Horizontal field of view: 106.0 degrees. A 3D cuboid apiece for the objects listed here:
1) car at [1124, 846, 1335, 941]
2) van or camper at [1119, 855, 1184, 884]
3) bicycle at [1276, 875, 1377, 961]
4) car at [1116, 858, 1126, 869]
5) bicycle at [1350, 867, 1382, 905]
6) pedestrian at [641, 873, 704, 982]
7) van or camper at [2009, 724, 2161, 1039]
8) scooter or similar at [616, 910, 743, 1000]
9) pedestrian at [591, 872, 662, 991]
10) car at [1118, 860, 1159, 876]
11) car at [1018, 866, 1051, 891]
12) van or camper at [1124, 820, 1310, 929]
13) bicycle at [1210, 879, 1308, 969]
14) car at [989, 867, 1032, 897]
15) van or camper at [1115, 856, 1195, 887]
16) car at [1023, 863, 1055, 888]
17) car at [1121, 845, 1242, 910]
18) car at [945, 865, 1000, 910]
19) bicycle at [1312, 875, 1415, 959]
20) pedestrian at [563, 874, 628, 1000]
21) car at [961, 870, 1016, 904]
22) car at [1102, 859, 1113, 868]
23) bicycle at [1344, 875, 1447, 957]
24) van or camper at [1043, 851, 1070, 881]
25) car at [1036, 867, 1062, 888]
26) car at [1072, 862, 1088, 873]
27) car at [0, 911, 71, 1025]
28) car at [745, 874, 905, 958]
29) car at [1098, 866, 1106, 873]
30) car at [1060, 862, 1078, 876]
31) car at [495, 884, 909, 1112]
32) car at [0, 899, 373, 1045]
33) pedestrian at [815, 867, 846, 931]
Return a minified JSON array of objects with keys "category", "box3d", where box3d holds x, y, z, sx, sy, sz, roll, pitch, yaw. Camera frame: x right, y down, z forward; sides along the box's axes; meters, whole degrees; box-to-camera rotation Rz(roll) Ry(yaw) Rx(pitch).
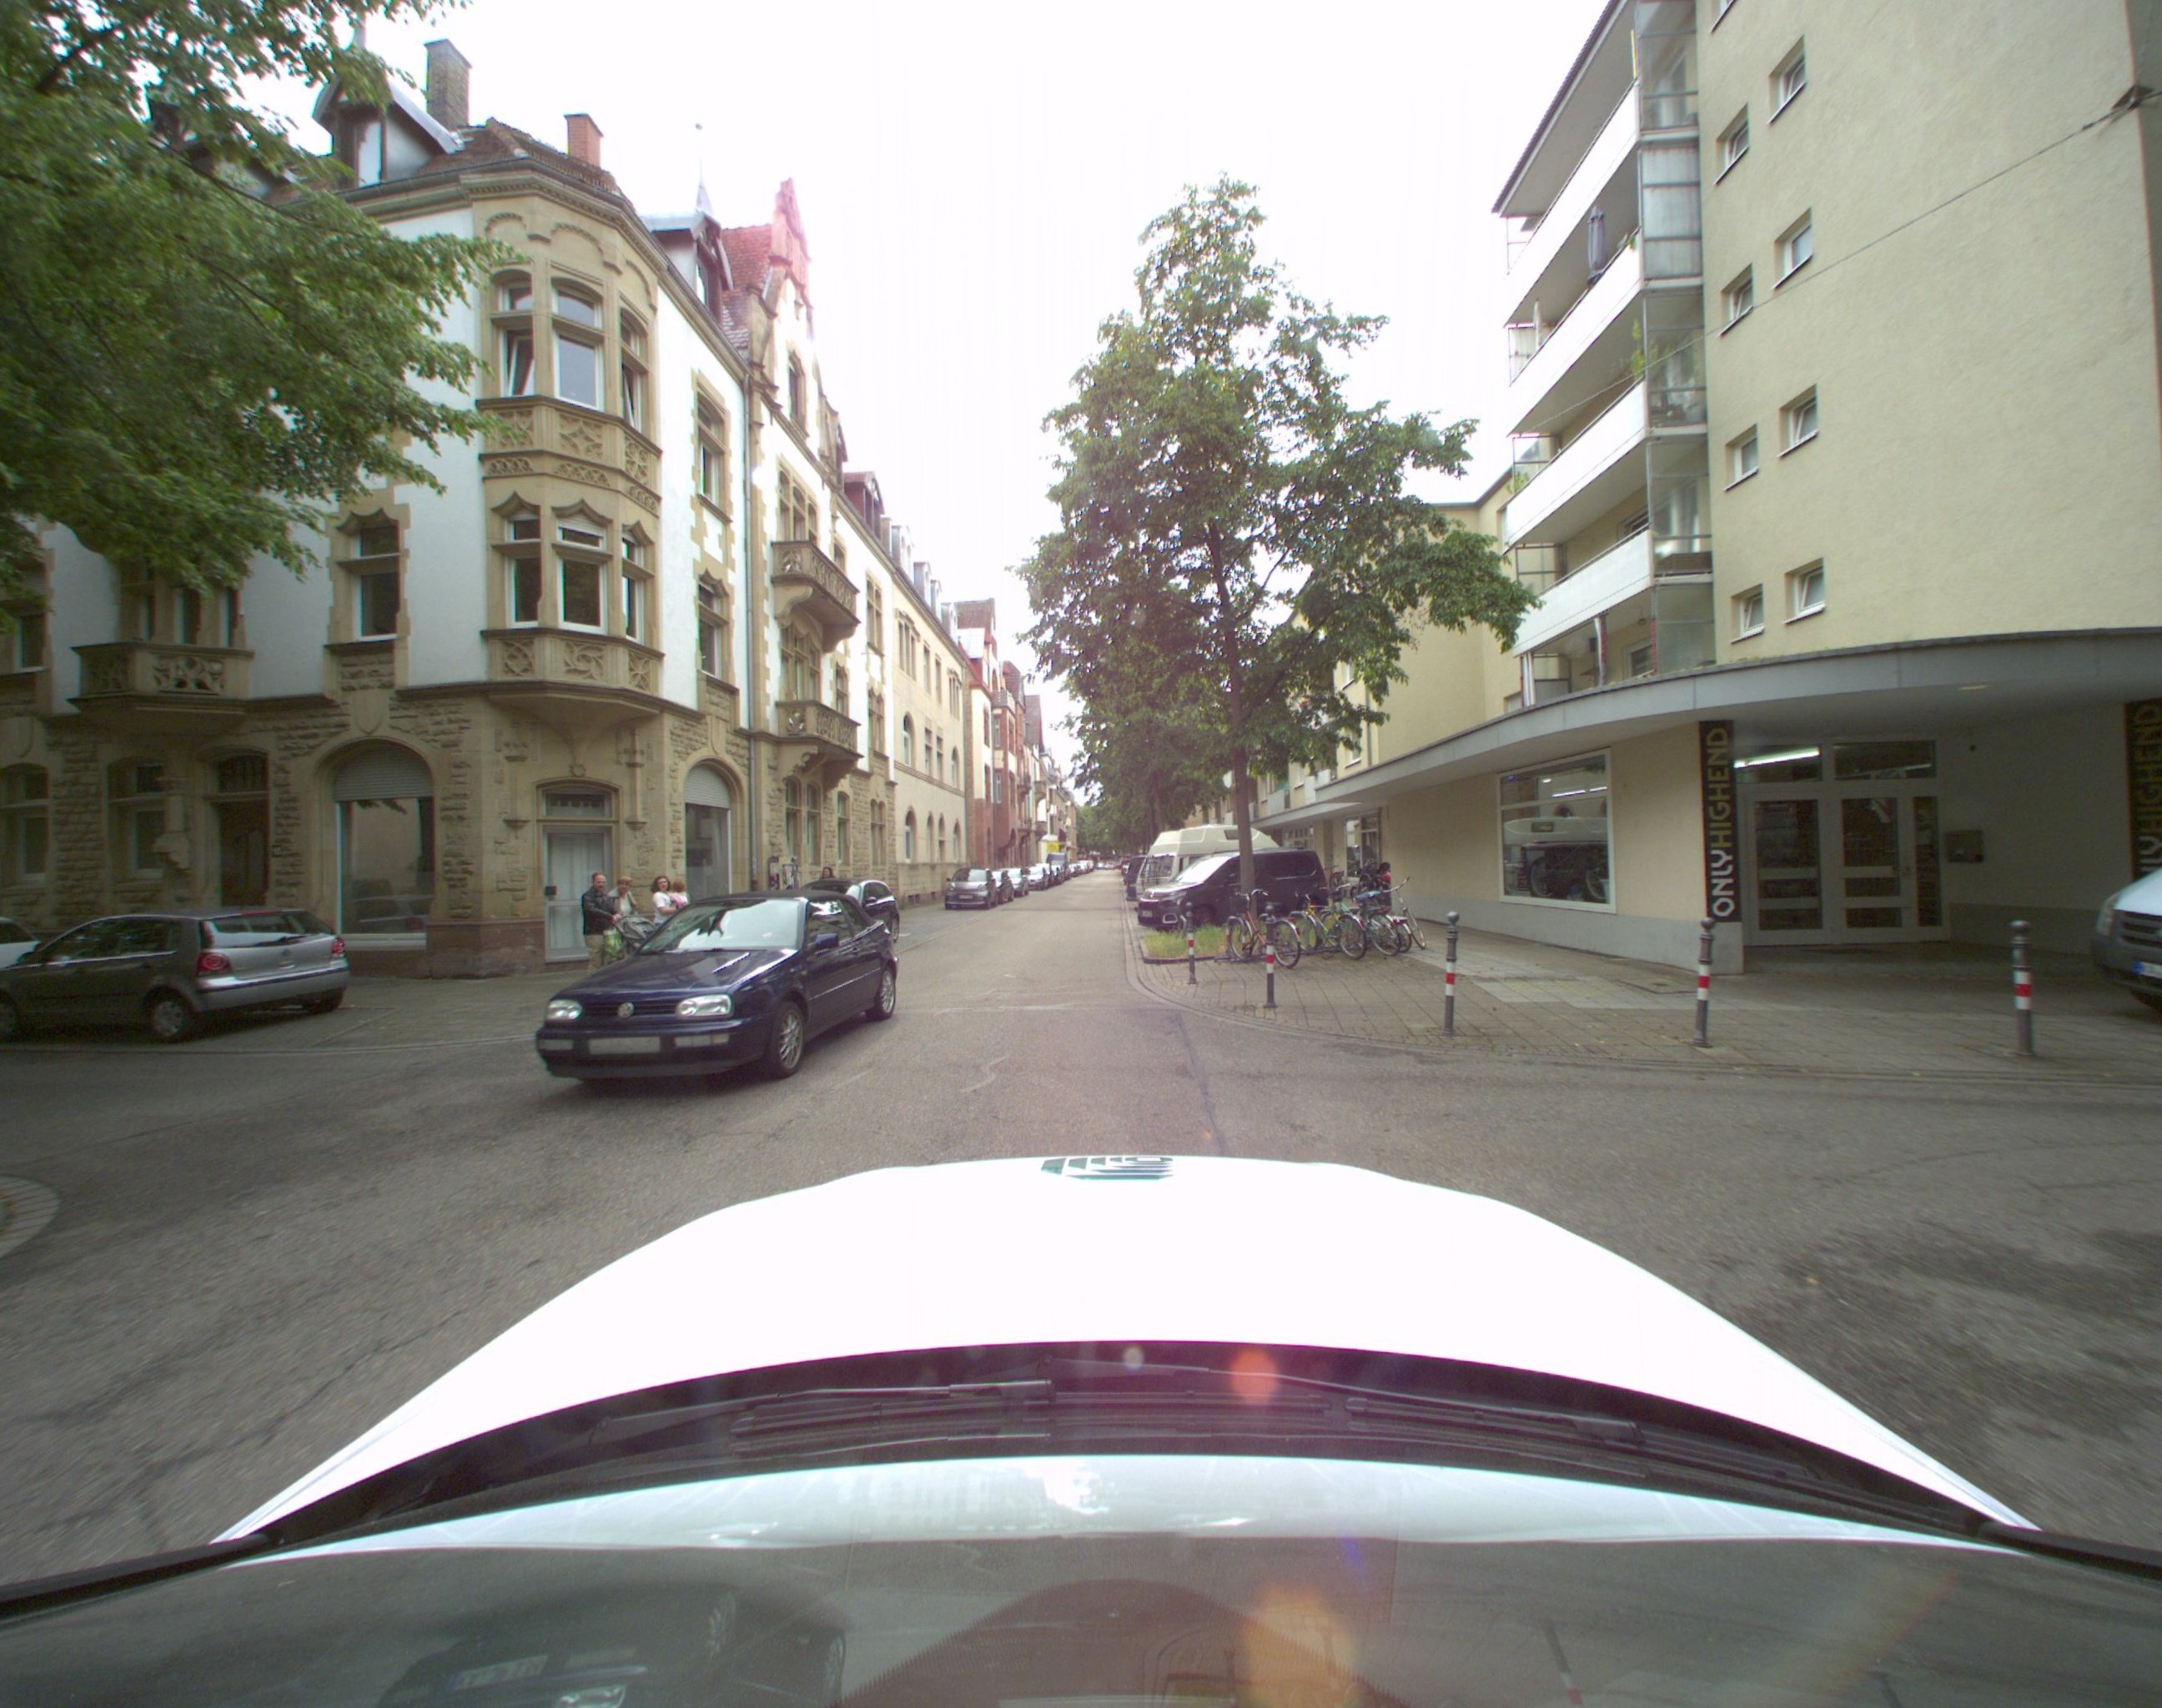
[{"category":"car","box3d":[3.367,0.814,18.466,4.350,1.854,1.896,-2,-1,-23]},{"category":"van or camper","box3d":[5.642,1.265,65.216,4.750,1.994,1.984,-3,-3,-23]},{"category":"bicycle","box3d":[3.728,0.936,12.496,0.550,1.173,1.717,-2,0,-19]},{"category":"car","box3d":[7.811,1.894,160.067,1.986,2.014,4.002,1,0,2]},{"category":"bicycle","box3d":[8.565,0.939,24.515,0.482,1.090,1.703,-2,-1,5]},{"category":"pedestrian","box3d":[-6.271,1.096,12.504,0.623,1.593,0.674,-2,-1,43]},{"category":"van or camper","box3d":[11.398,0.123,6.147,5.735,2.494,2.143,-2,3,10]},{"category":"scooter or similar","box3d":[-5.512,1.366,11.206,1.458,1.104,0.678,0,0,14]},{"category":"pedestrian","box3d":[-6.516,1.085,11.696,0.612,1.643,0.606,-1,-1,14]},{"category":"car","box3d":[6.321,1.521,89.581,4.034,1.559,1.867,-1,-1,-29]},{"category":"car","box3d":[-2.880,1.480,50.718,1.656,1.421,3.931,0,0,2]},{"category":"van or camper","box3d":[3.620,0.471,21.457,4.611,2.596,1.892,-1,-1,-30]},{"category":"bicycle","box3d":[2.570,0.982,11.960,0.550,1.173,1.717,-2,0,-19]},{"category":"car","box3d":[-3.577,1.401,42.015,1.719,1.386,4.139,0,0,2]},{"category":"van or camper","box3d":[5.135,1.205,56.442,5.031,1.869,2.109,-3,-1,-26]},{"category":"car","box3d":[-2.875,1.482,56.645,1.779,1.647,4.364,0,0,2]},{"category":"car","box3d":[3.757,0.805,30.040,4.424,2.196,2.042,-1,-1,-44]},{"category":"car","box3d":[-4.108,1.232,31.255,1.640,1.570,2.958,0,0,2]},{"category":"bicycle","box3d":[4.356,0.939,12.683,0.550,1.173,1.717,-2,0,-19]},{"category":"pedestrian","box3d":[-6.583,1.106,11.058,0.524,1.643,0.530,0,-1,14]},{"category":"car","box3d":[-3.909,1.407,35.081,1.719,1.387,3.931,0,-2,3]},{"category":"car","box3d":[5.238,1.956,161.414,1.985,1.794,4.003,0,-2,3]},{"category":"bicycle","box3d":[4.967,0.945,12.967,0.550,1.173,1.686,-2,0,-19]},{"category":"van or camper","box3d":[-2.296,1.076,77.105,2.000,2.651,5.319,-2,0,3]},{"category":"car","box3d":[-2.373,1.779,61.945,1.628,1.473,4.003,0,0,3]},{"category":"car","box3d":[-0.152,1.880,116.582,1.985,1.475,4.002,-2,-1,2]},{"category":"car","box3d":[-15.961,1.583,10.868,3.468,1.460,1.654,-2,-1,11]},{"category":"car","box3d":[-4.982,1.152,16.465,1.702,1.495,4.004,0,-2,4]},{"category":"car","box3d":[4.741,3.444,181.228,1.814,1.645,3.755,0,-2,2]},{"category":"car","box3d":[-1.377,1.685,93.180,1.782,1.480,4.024,-1,-1,2]},{"category":"car","box3d":[-2.959,1.039,7.371,1.701,1.413,3.856,-2,-2,4]},{"category":"car","box3d":[-11.114,1.388,10.074,3.545,1.460,1.655,-1,1,11]},{"category":"pedestrian","box3d":[-6.122,1.089,19.901,0.513,1.518,0.547,-2,-1,2]}]
